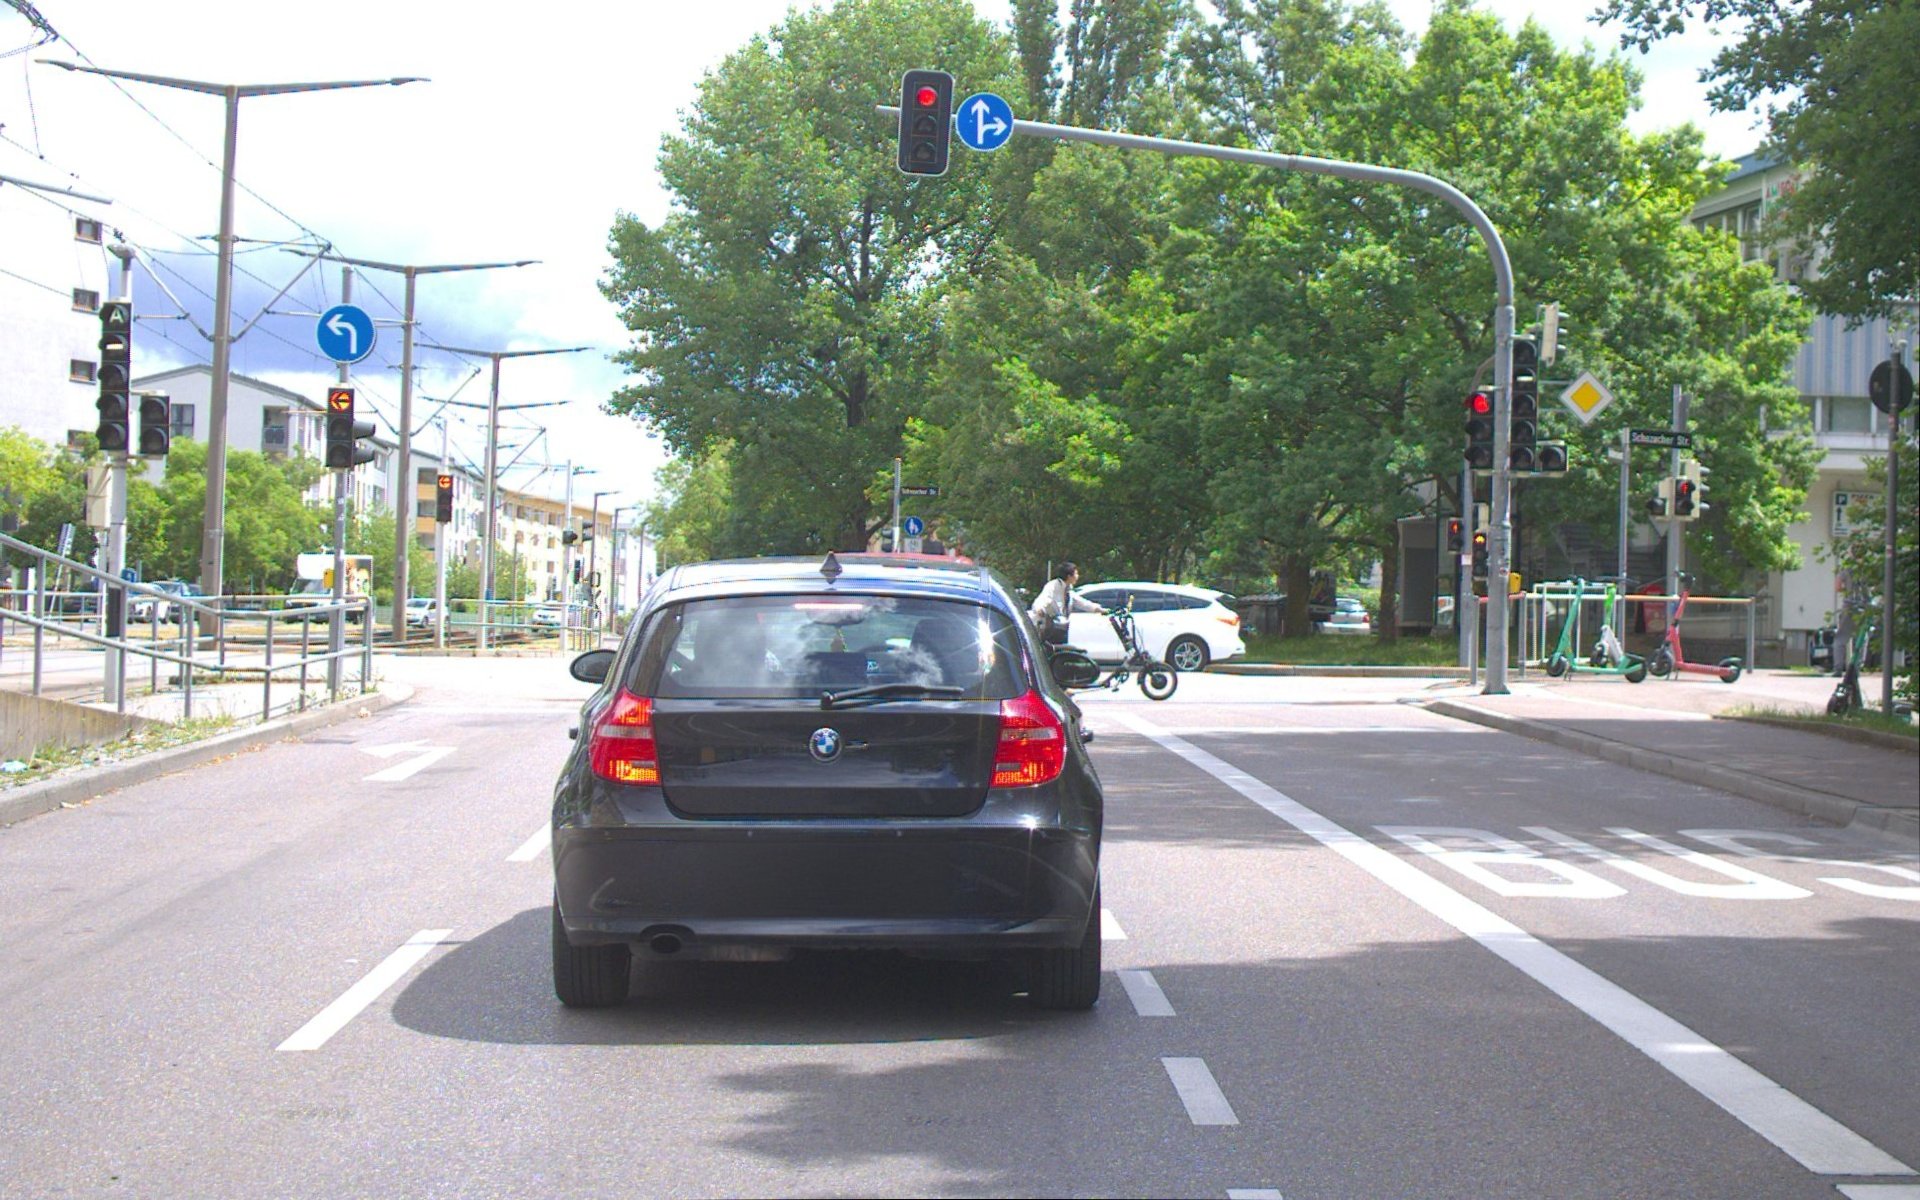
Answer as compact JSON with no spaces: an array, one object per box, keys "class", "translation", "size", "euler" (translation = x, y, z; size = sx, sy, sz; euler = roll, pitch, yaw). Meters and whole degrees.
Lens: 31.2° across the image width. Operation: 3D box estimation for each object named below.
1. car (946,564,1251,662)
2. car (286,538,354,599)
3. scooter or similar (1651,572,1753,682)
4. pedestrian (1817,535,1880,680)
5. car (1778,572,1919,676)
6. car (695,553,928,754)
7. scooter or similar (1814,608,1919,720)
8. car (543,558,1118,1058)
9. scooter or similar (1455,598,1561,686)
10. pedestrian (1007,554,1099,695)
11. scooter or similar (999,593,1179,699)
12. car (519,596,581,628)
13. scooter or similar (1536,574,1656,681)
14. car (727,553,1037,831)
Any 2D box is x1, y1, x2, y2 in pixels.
[{"class":"car","translation":[2.209,0.210,55.333],"size":[4.571,1.521,1.945],"euler":[0,1,-11]},{"class":"car","translation":[-28.180,-1.399,151.545],"size":[2.139,2.631,5.359],"euler":[1,1,-2]},{"class":"scooter or similar","translation":[8.557,0.307,39.652],"size":[1.106,1.253,0.332],"euler":[0,1,-12]},{"class":"pedestrian","translation":[11.280,0.100,43.627],"size":[0.614,1.784,0.568],"euler":[5,1,18]},{"class":"car","translation":[14.916,0.379,54.116],"size":[3.576,1.595,1.712],"euler":[1,0,-12]},{"class":"car","translation":[-1.131,0.364,26.421],"size":[1.654,1.414,3.517],"euler":[1,1,-2]},{"class":"scooter or similar","translation":[9.138,0.640,34.441],"size":[1.148,1.095,0.332],"euler":[1,1,-24]},{"class":"car","translation":[-0.345,0.581,11.731],"size":[1.654,1.414,3.517],"euler":[1,1,1]},{"class":"scooter or similar","translation":[6.006,0.462,37.703],"size":[1.119,0.954,0.300],"euler":[0,1,-16]},{"class":"pedestrian","translation":[0.966,0.243,35.503],"size":[0.865,1.437,0.798],"euler":[1,1,7]},{"class":"scooter or similar","translation":[1.303,0.461,34.908],"size":[1.780,1.047,0.410],"euler":[1,1,-5]},{"class":"car","translation":[-21.369,0.600,179.378],"size":[1.968,1.590,3.998],"euler":[1,1,13]},{"class":"scooter or similar","translation":[7.173,0.307,38.782],"size":[1.287,1.185,0.385],"euler":[0,1,-16]},{"class":"car","translation":[-0.403,0.454,19.613],"size":[1.594,1.414,3.517],"euler":[1,1,0]}]
